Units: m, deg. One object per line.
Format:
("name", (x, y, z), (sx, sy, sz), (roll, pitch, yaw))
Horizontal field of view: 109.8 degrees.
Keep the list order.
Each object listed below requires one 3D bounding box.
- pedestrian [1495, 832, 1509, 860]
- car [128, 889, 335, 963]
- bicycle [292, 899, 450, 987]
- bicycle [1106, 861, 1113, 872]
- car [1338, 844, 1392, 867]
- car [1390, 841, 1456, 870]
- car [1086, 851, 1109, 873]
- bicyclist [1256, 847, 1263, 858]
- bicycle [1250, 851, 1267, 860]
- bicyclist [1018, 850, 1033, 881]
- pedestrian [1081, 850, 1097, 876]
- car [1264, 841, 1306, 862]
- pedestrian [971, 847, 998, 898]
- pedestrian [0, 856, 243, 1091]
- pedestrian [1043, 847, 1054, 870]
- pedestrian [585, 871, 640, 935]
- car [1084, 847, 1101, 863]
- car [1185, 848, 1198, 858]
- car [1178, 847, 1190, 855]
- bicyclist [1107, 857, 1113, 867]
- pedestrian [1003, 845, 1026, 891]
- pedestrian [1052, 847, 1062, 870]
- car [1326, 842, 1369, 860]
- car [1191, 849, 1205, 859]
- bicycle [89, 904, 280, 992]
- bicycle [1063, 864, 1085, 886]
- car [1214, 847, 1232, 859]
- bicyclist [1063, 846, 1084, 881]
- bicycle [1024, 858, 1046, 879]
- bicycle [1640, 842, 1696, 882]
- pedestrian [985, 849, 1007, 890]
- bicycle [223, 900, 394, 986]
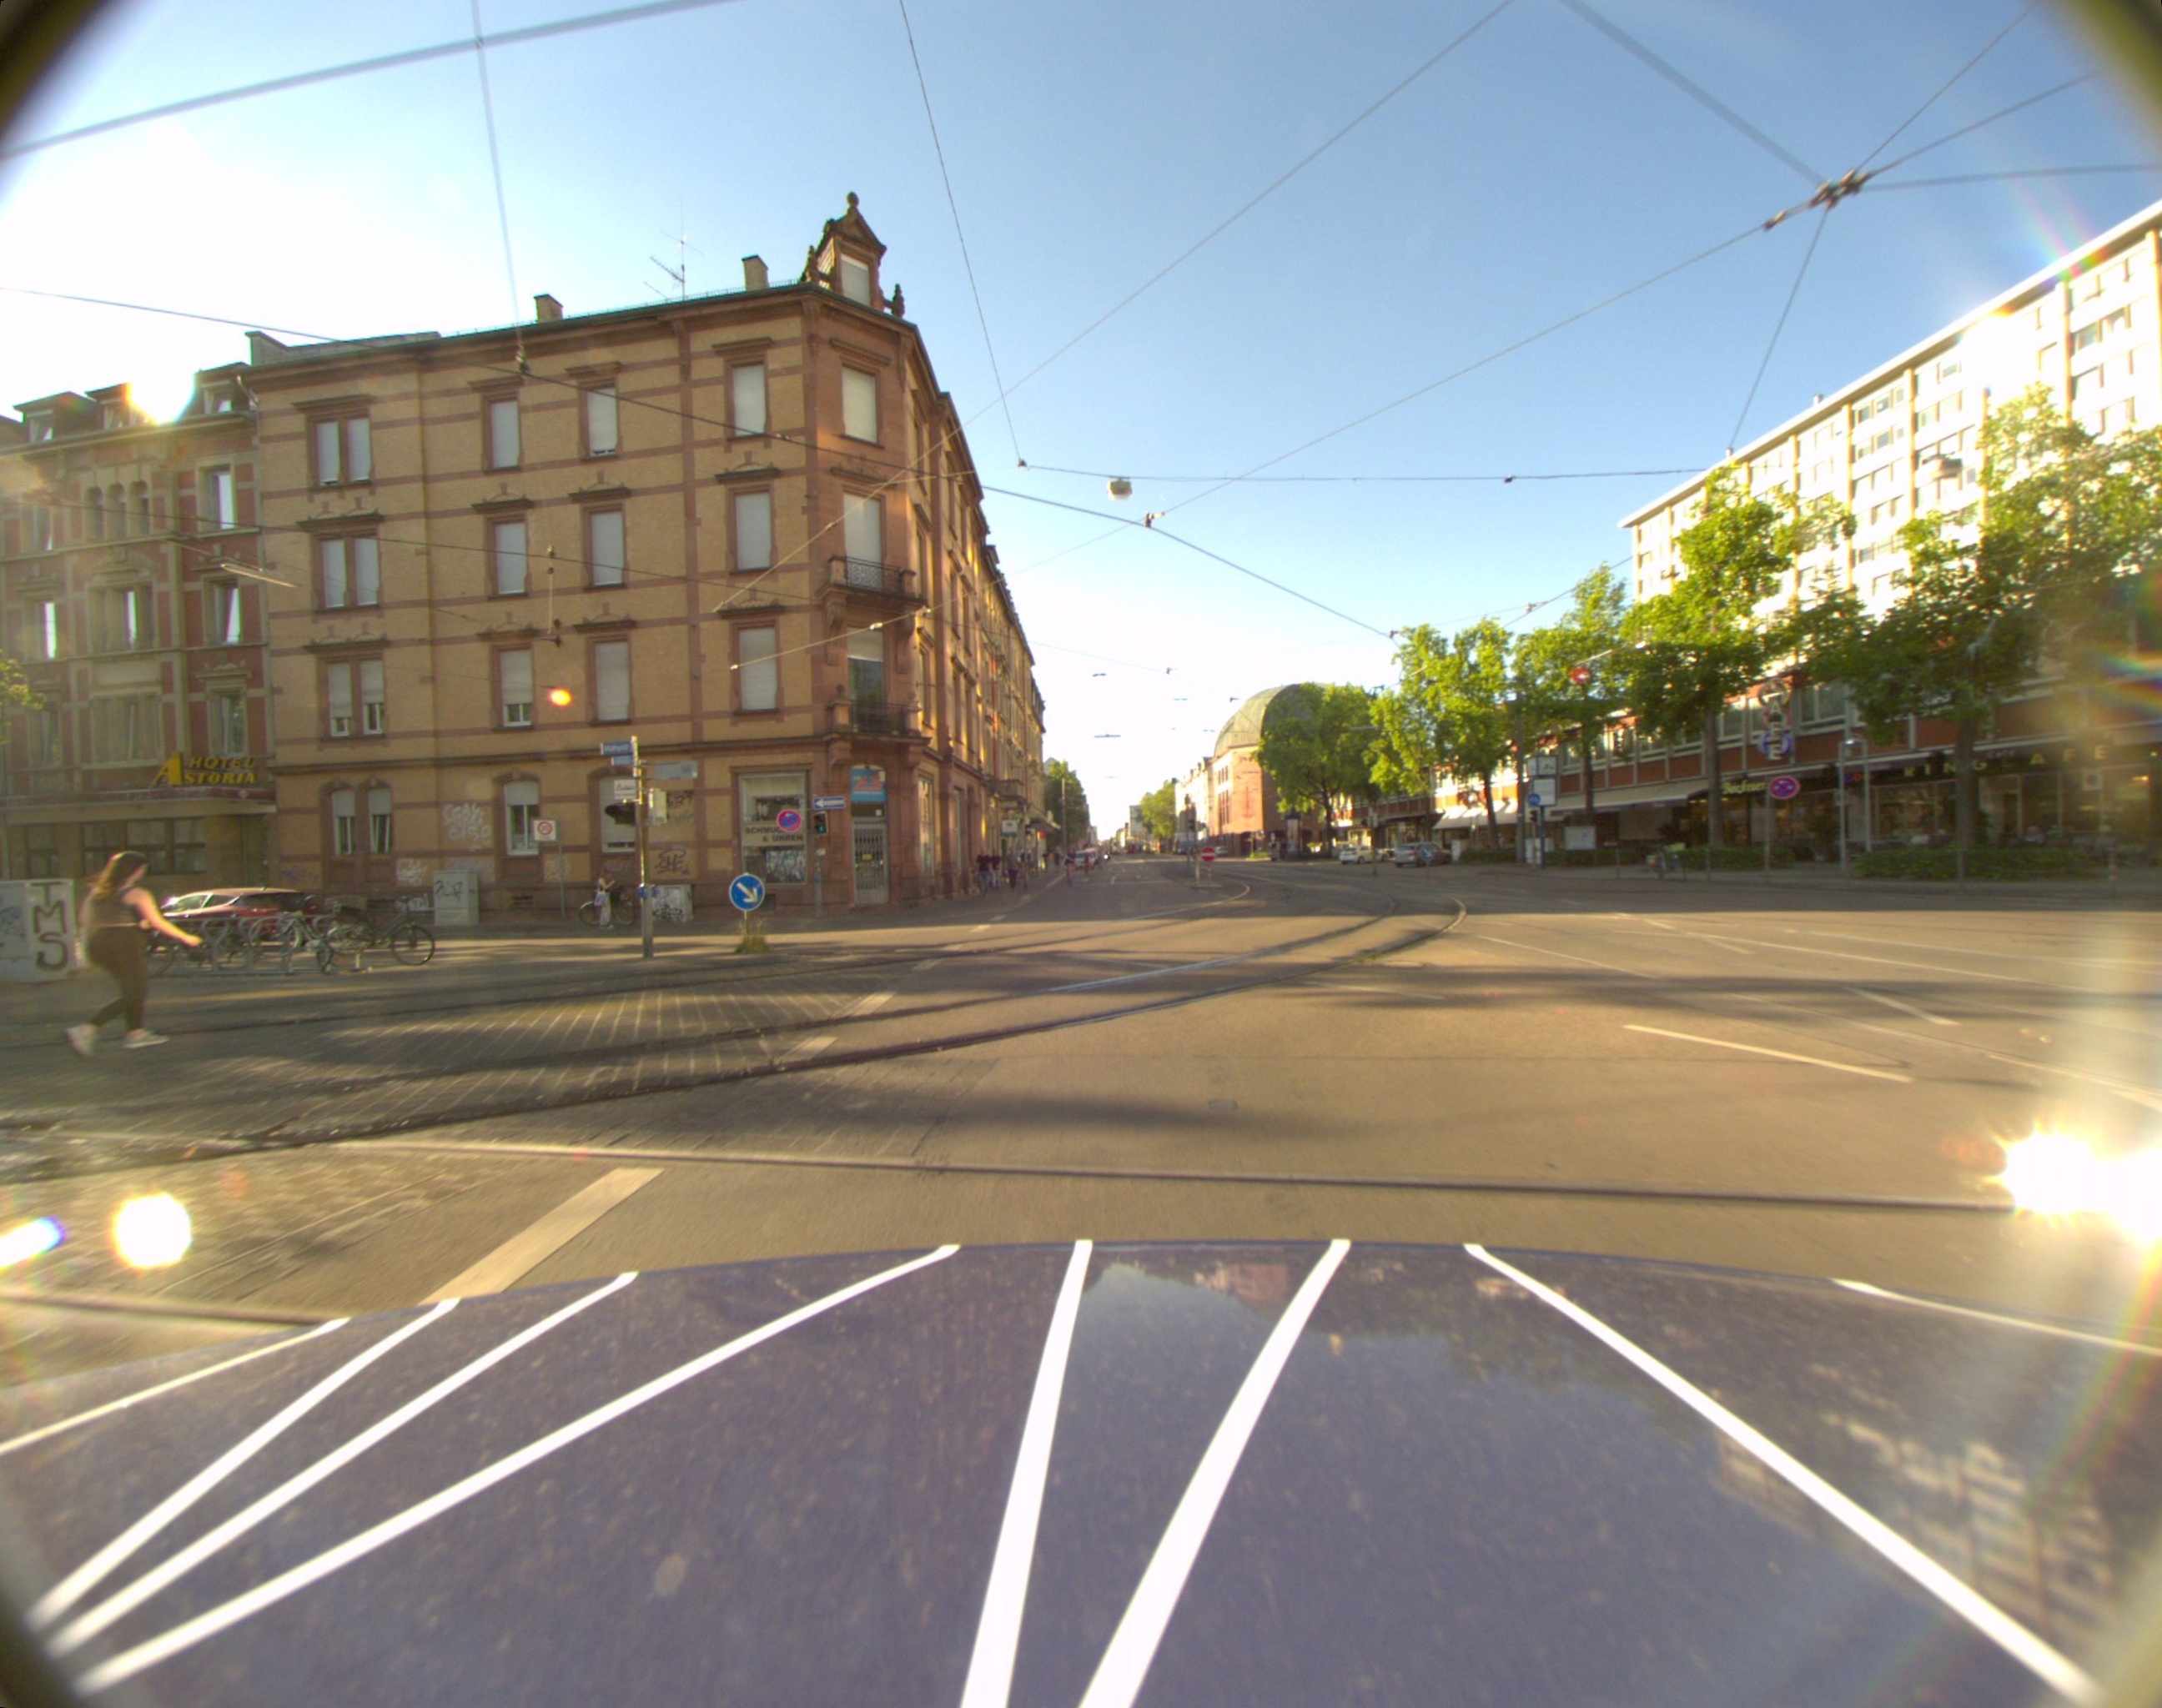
("pedestrian", (27.885, -0.523, 50.300), (0.635, 1.760, 0.769), (-2, 4, 18))
("car", (-20.466, 1.718, 18.365), (3.574, 1.487, 1.699), (-3, 1, 12))
("bicycle", (-11.580, 1.418, 12.488), (0.755, 1.255, 1.836), (-2, -2, 6))
("bicycle", (3.417, 1.507, 91.749), (0.646, 1.176, 1.804), (-3, 2, -1))
("car", (22.539, 0.084, 60.239), (4.005, 1.467, 1.793), (-5, 3, -29))
("car", (22.283, 0.050, 49.466), (4.005, 1.545, 1.793), (-5, 3, -29))
("car", (1.467, 0.683, 66.760), (1.670, 1.674, 4.000), (-3, 2, 5))
("bicyclist", (23.473, -0.188, 99.935), (0.762, 1.414, 0.674), (-1, 3, 34))
("bicycle", (23.413, 0.245, 100.005), (2.033, 1.086, 0.674), (-1, 3, 34))
("bicyclist", (-3.442, 0.699, 46.786), (0.600, 1.872, 0.742), (-4, 3, -24))
("pedestrian", (0.536, 0.583, 50.127), (0.849, 1.652, 0.850), (-3, 2, 5))
("car", (21.274, -0.272, 79.131), (4.005, 1.953, 1.907), (-6, 3, -33))
("pedestrian", (-3.352, 0.635, 26.529), (0.777, 1.714, 0.754), (-1, 3, 2))
("pedestrian", (-8.411, 0.955, 6.538), (1.025, 1.797, 1.082), (-3, 2, -1))
("pedestrian", (-2.492, 0.367, 58.575), (0.700, 1.714, 0.681), (-1, 3, 3))
("pedestrian", (-12.453, 1.291, 20.234), (0.743, 1.563, 0.763), (-4, 7, 8))
("car", (1.376, 0.073, 87.854), (1.670, 1.674, 3.999), (-3, 2, 4))
("car", (21.866, -0.254, 150.427), (1.964, 1.594, 3.998), (-4, 2, 0))
("car", (22.876, -0.618, 169.012), (1.964, 1.594, 3.998), (-4, 2, 0))
("bicyclist", (3.453, 0.938, 91.672), (0.646, 1.176, 0.722), (-3, 2, -1))
("pedestrian", (-2.815, 0.570, 32.179), (0.823, 1.884, 0.754), (-1, 3, 2))
("pedestrian", (-1.817, 0.314, 58.321), (0.700, 1.714, 0.502), (-1, 3, 3))
("car", (35.645, -0.412, 101.675), (4.983, 2.003, 1.999), (-3, 2, 0))
("car", (22.185, -0.097, 144.165), (1.964, 1.594, 3.998), (-4, 2, 0))
("bicycle", (-14.851, 1.509, 12.686), (0.755, 1.255, 1.969), (-2, -2, 6))
("bicycle", (-0.331, 1.024, 37.726), (0.885, 0.950, 1.765), (-2, 2, 5))
("car", (21.857, -0.186, 116.988), (1.910, 1.594, 3.998), (-4, 2, 0))
("bicyclist", (-0.353, 0.472, 37.710), (0.885, 1.651, 0.803), (-2, 3, 5))
("bicycle", (-2.867, 0.875, 47.069), (0.669, 1.246, 1.891), (-4, 2, -24))
("bicycle", (19.671, 0.252, 25.501), (0.582, 1.228, 1.857), (-4, 2, 7))
("pedestrian", (-3.636, 0.651, 32.556), (0.777, 1.714, 0.754), (-1, 3, 2))
("bicycle", (-12.944, 1.449, 12.837), (0.755, 1.255, 1.969), (-2, -2, 6))
